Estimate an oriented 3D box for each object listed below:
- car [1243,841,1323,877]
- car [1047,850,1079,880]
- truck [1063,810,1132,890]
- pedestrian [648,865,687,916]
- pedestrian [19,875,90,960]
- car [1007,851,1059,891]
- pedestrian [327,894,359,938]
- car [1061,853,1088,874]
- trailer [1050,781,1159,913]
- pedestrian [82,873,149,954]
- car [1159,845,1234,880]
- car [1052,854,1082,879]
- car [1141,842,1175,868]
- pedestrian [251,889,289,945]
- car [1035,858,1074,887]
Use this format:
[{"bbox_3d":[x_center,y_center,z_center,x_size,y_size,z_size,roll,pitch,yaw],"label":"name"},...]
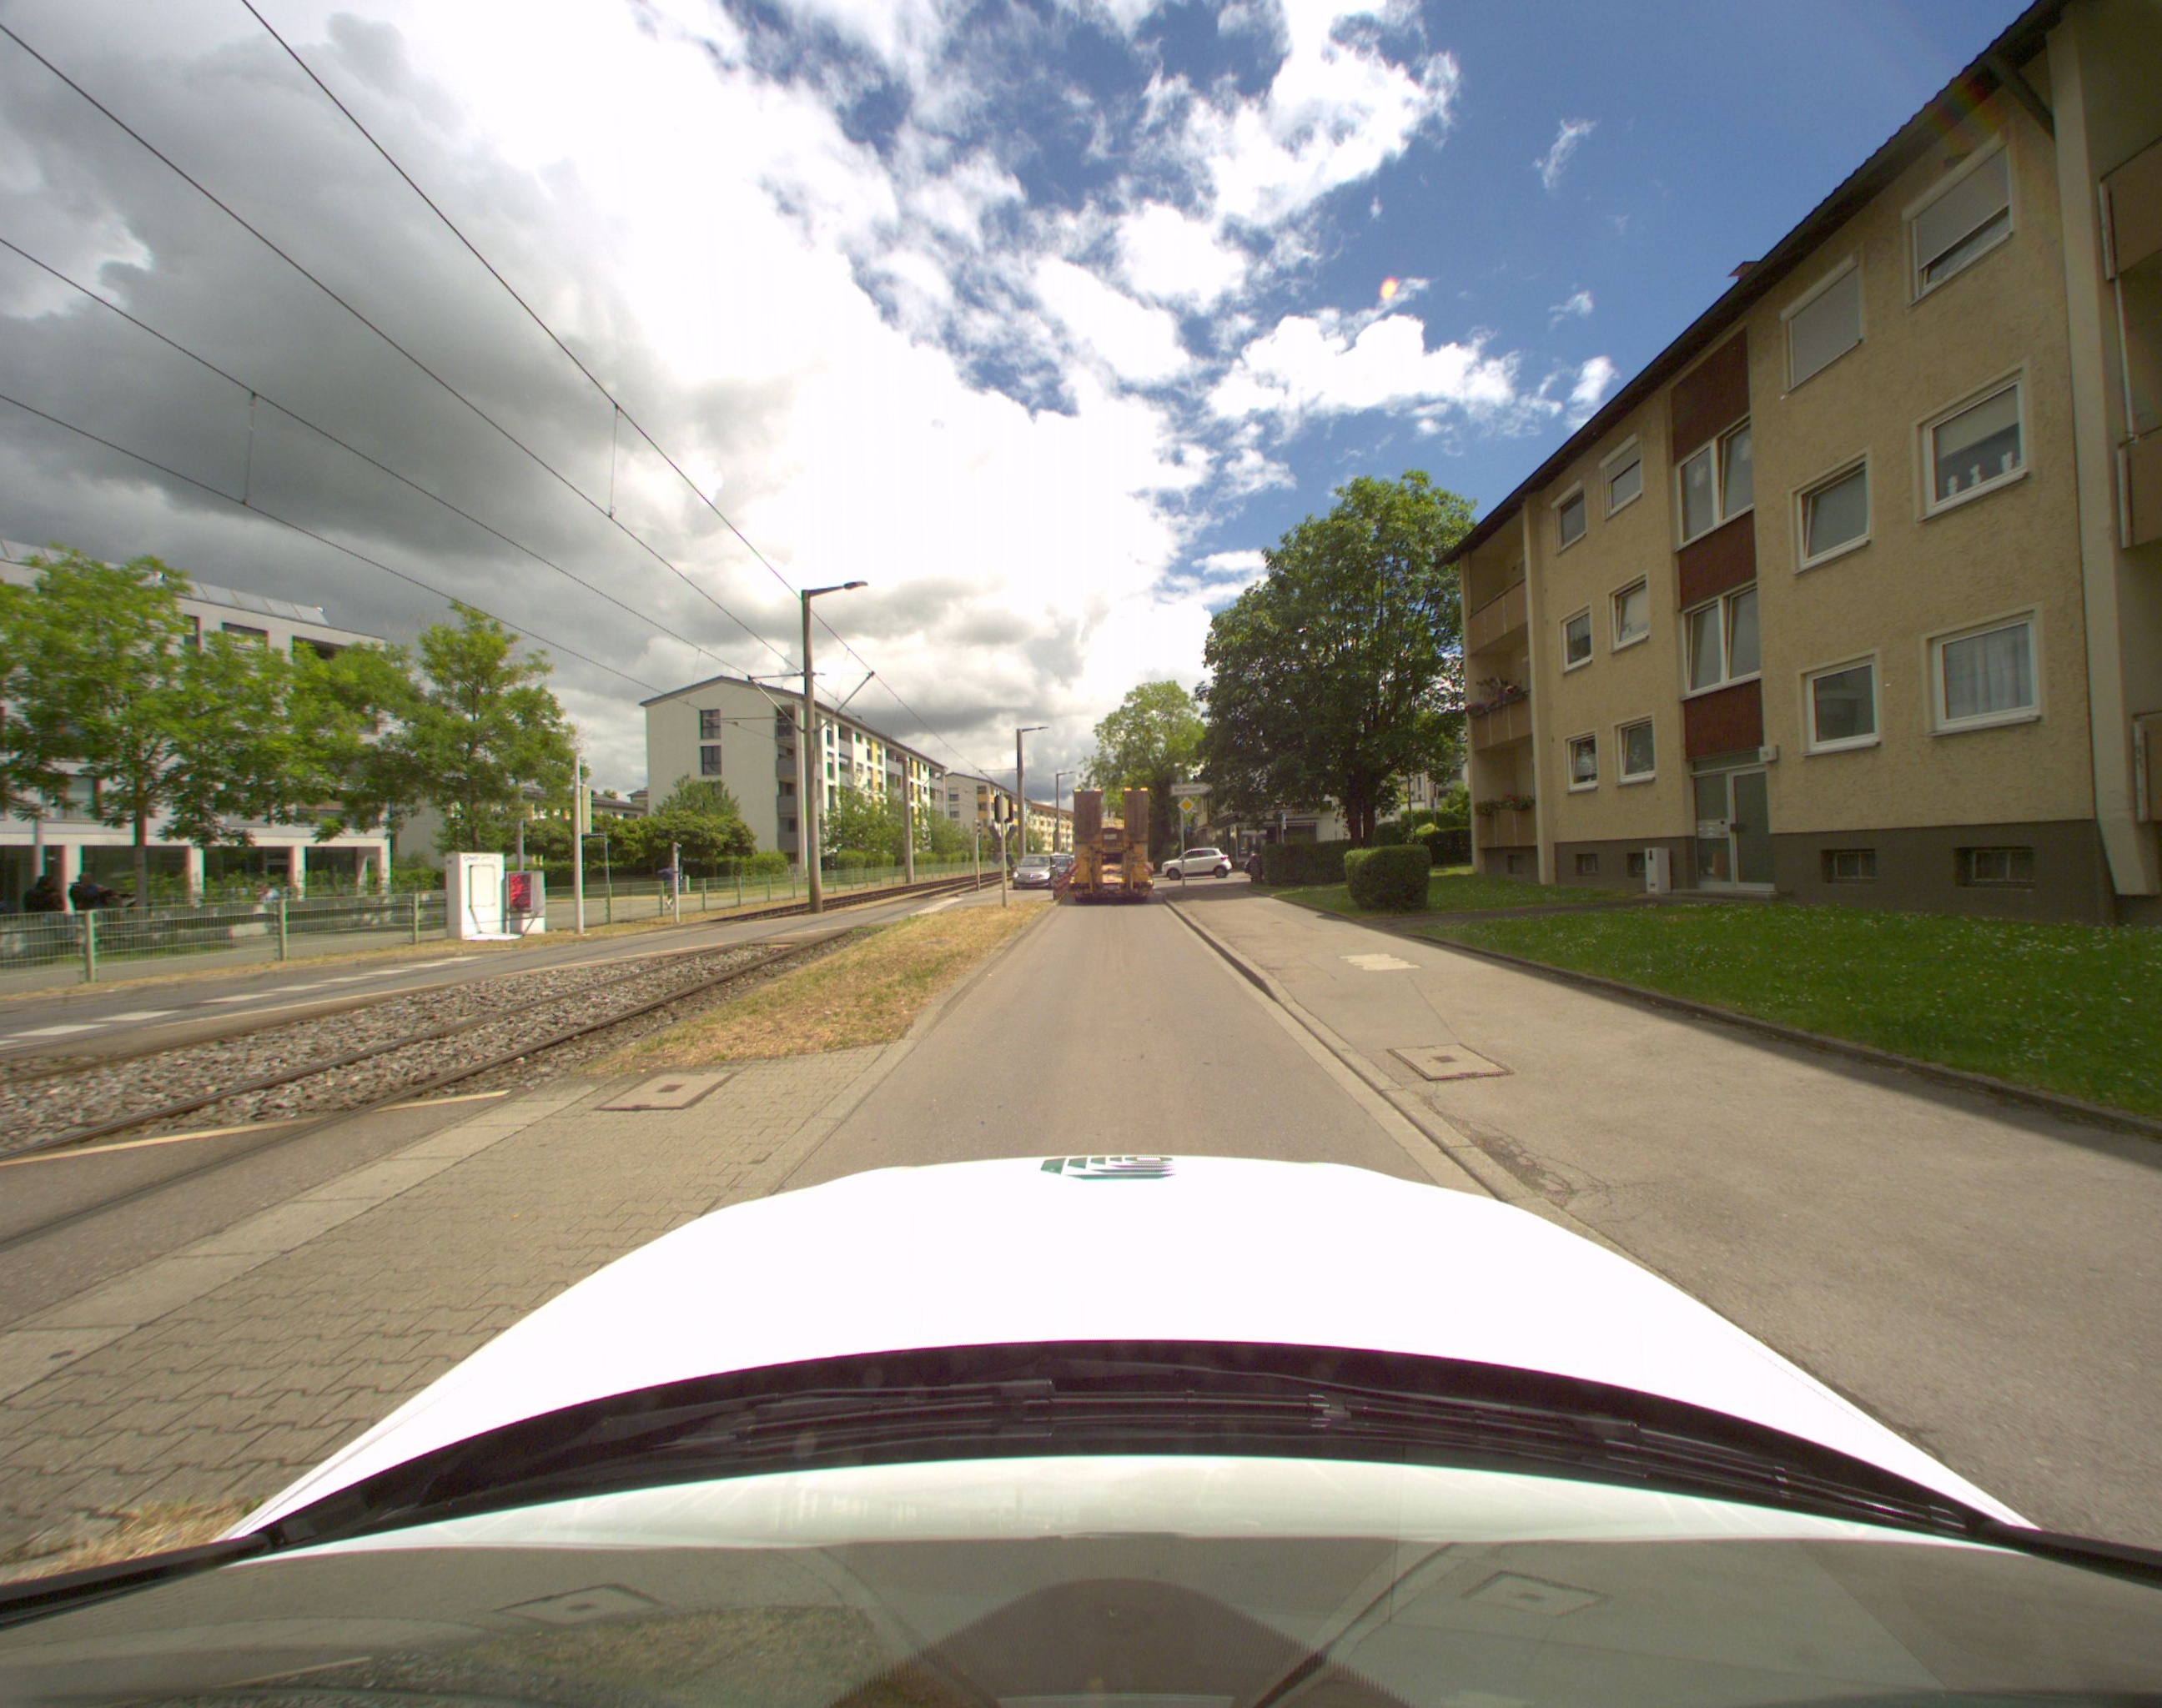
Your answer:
[{"bbox_3d":[10.132,0.246,40.751,3.667,1.522,2.010,-3,1,19],"label":"car"},{"bbox_3d":[-1.131,0.693,52.589,1.594,1.732,3.943,-3,-1,4],"label":"car"},{"bbox_3d":[0.687,-0.228,39.360,2.825,3.330,7.982,-3,1,-1],"label":"truck"},{"bbox_3d":[-14.200,1.241,28.013,0.746,1.661,0.871,-3,1,5],"label":"pedestrian"},{"bbox_3d":[-19.918,1.227,15.809,0.618,1.573,0.560,-3,1,12],"label":"pedestrian"},{"bbox_3d":[-2.195,0.776,38.060,1.794,1.652,4.136,-3,-1,4],"label":"car"},{"bbox_3d":[-22.044,1.852,24.329,0.539,1.246,0.460,-3,1,22],"label":"pedestrian"},{"bbox_3d":[-0.520,0.791,68.375,1.986,1.520,3.892,-3,1,1],"label":"car"},{"bbox_3d":[0.654,-0.302,30.187,3.042,3.772,11.609,-3,1,-1],"label":"trailer"},{"bbox_3d":[-19.765,1.210,16.680,0.619,1.573,0.559,-3,1,7],"label":"pedestrian"},{"bbox_3d":[6.038,0.418,42.339,3.573,1.584,2.007,-3,-1,13],"label":"car"},{"bbox_3d":[-1.010,0.883,60.753,1.986,1.593,3.892,-3,1,1],"label":"car"},{"bbox_3d":[5.305,0.051,56.564,1.986,1.617,4.001,-3,1,1],"label":"car"},{"bbox_3d":[-23.532,1.819,23.633,0.539,1.547,0.531,-3,1,22],"label":"pedestrian"},{"bbox_3d":[-1.399,0.955,43.816,1.594,1.381,3.961,-3,-1,4],"label":"car"}]
